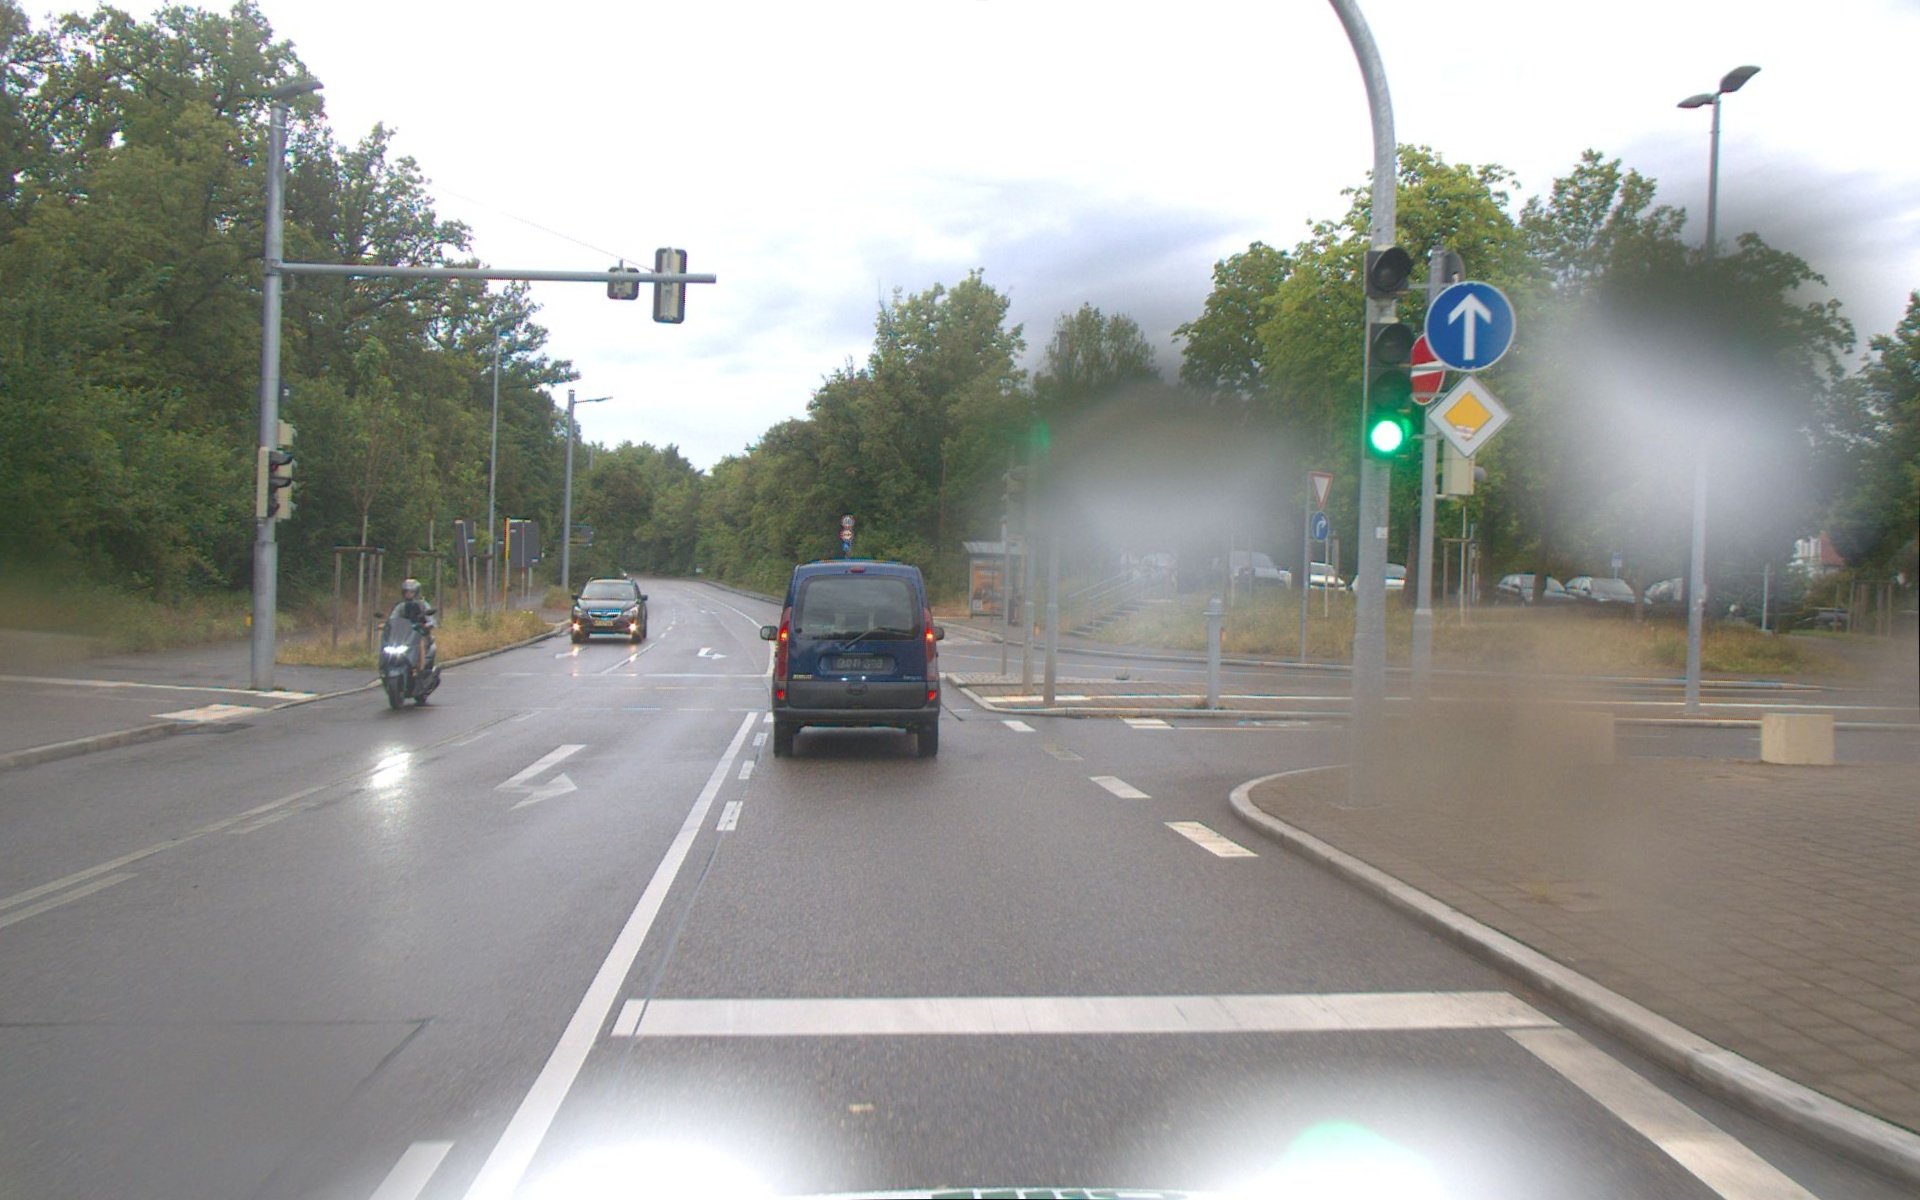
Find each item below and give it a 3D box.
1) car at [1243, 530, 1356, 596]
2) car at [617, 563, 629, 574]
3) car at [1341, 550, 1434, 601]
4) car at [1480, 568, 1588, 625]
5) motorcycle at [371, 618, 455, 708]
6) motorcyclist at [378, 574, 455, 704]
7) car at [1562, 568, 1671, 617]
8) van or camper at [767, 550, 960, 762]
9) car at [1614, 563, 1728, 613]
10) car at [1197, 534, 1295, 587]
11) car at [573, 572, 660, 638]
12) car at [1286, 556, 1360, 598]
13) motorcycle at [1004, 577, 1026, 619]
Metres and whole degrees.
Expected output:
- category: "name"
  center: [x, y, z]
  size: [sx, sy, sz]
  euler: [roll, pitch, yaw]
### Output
- category: "car"
  center: [9.793, -1.065, 48.018]
  size: [1.956, 1.690, 3.994]
  euler: [4, 1, -7]
- category: "car"
  center: [-45.323, -4.231, 222.368]
  size: [1.570, 1.466, 3.979]
  euler: [0, 1, -12]
- category: "car"
  center: [14.065, -0.779, 54.616]
  size: [1.848, 1.505, 4.067]
  euler: [4, 0, -2]
- category: "car"
  center: [19.048, -0.149, 55.066]
  size: [1.954, 1.690, 3.998]
  euler: [4, 1, -3]
- category: "motorcycle"
  center: [-7.091, 0.794, 21.504]
  size: [0.582, 1.069, 1.997]
  euler: [1, 1, -5]
- category: "motorcyclist"
  center: [-7.103, 0.492, 21.634]
  size: [0.731, 1.661, 0.926]
  euler: [1, 0, -4]
- category: "car"
  center: [21.523, -0.247, 54.414]
  size: [1.847, 1.506, 4.067]
  euler: [1, 0, -2]
- category: "van or camper"
  center: [-1.068, 0.490, 16.988]
  size: [1.679, 1.857, 3.995]
  euler: [2, 0, -6]
- category: "car"
  center: [23.931, -0.397, 55.808]
  size: [1.848, 1.505, 4.066]
  euler: [4, 0, -3]
- category: "car"
  center: [9.232, -1.249, 53.680]
  size: [1.956, 1.505, 4.278]
  euler: [4, 0, -6]
- category: "car"
  center: [-8.925, 0.104, 43.246]
  size: [1.755, 1.609, 4.556]
  euler: [1, 1, -6]
- category: "car"
  center: [14.262, -0.886, 65.224]
  size: [1.848, 1.505, 4.067]
  euler: [3, 0, -2]
- category: "motorcycle"
  center: [1.783, -0.081, 53.343]
  size: [0.576, 1.311, 1.539]
  euler: [1, 1, 7]
